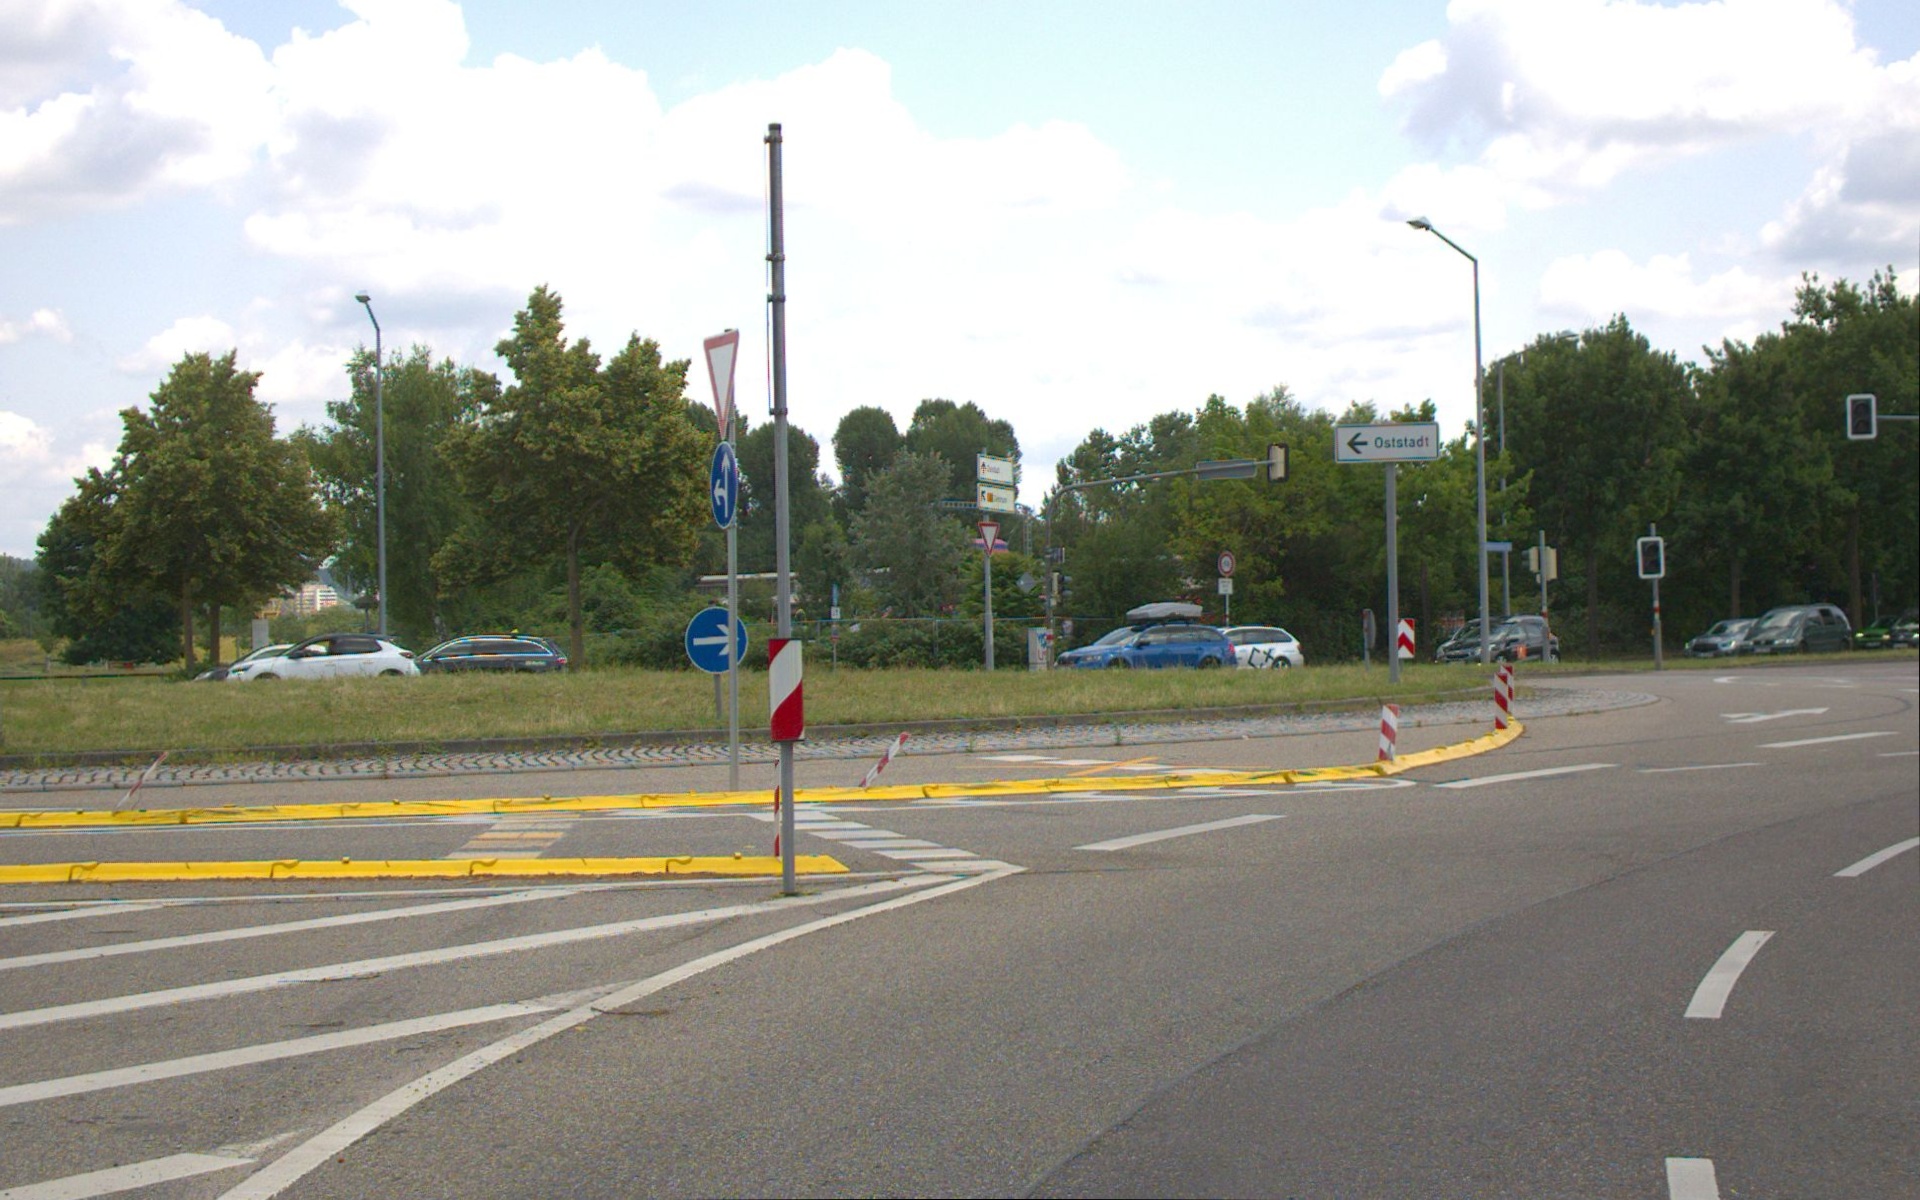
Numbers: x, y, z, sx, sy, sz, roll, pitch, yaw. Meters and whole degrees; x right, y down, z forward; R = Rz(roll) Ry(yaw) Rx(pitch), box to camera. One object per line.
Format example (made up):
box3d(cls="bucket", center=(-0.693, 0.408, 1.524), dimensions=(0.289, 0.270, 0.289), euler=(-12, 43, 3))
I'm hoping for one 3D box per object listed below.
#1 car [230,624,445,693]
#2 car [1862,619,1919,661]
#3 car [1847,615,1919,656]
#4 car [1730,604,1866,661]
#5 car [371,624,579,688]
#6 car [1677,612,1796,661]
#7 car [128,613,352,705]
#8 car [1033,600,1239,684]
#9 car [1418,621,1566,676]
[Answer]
box3d(cls="car", center=(-13.128, 1.213, 72.385), dimensions=(4.296, 1.325, 2.000), euler=(-1, 0, -14))
box3d(cls="car", center=(32.268, 1.307, 115.481), dimensions=(1.842, 1.306, 4.776), euler=(-4, -3, 41))
box3d(cls="car", center=(32.730, 1.239, 120.281), dimensions=(1.619, 1.344, 4.161), euler=(-4, -2, 40))
box3d(cls="car", center=(24.363, 0.936, 99.874), dimensions=(1.912, 1.587, 4.581), euler=(-2, -1, 41))
box3d(cls="car", center=(-11.010, 1.249, 77.967), dimensions=(4.475, 1.318, 1.955), euler=(-1, 0, -14))
box3d(cls="car", center=(23.472, 1.094, 103.853), dimensions=(1.909, 1.418, 4.182), euler=(-2, -1, 37))
box3d(cls="car", center=(-16.861, 1.351, 80.535), dimensions=(4.710, 2.007, 2.000), euler=(-1, 0, -29))
box3d(cls="car", center=(4.047, 0.949, 78.830), dimensions=(4.393, 1.792, 1.756), euler=(-1, 0, -28))
box3d(cls="car", center=(14.388, 1.306, 92.915), dimensions=(3.968, 1.336, 1.802), euler=(-1, -2, -42))
